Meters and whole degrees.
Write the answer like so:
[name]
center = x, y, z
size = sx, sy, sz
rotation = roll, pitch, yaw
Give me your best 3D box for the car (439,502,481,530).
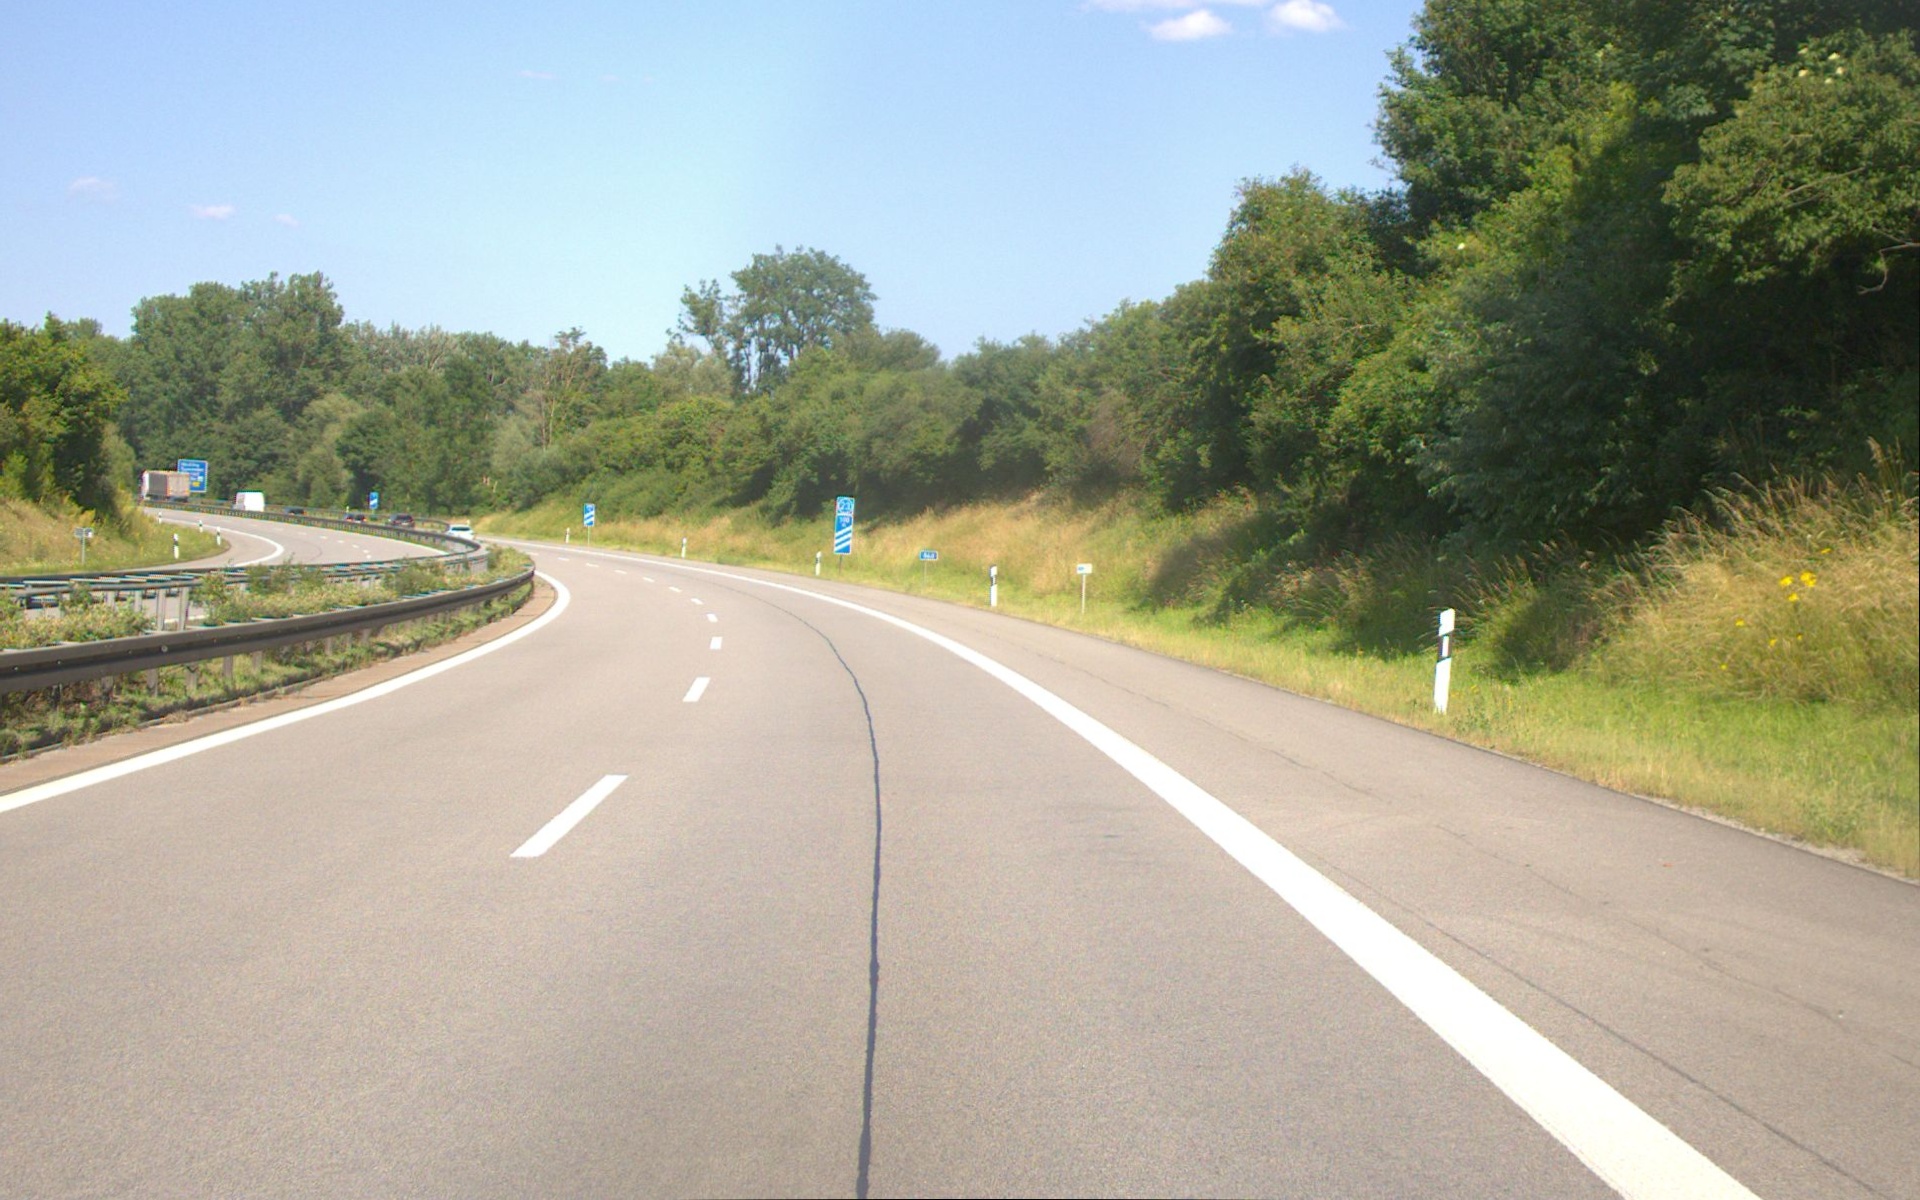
[car]
center = -31.415, -5.280, 216.091
size = 2.061, 1.619, 4.001
rotation = 1, 0, -16
